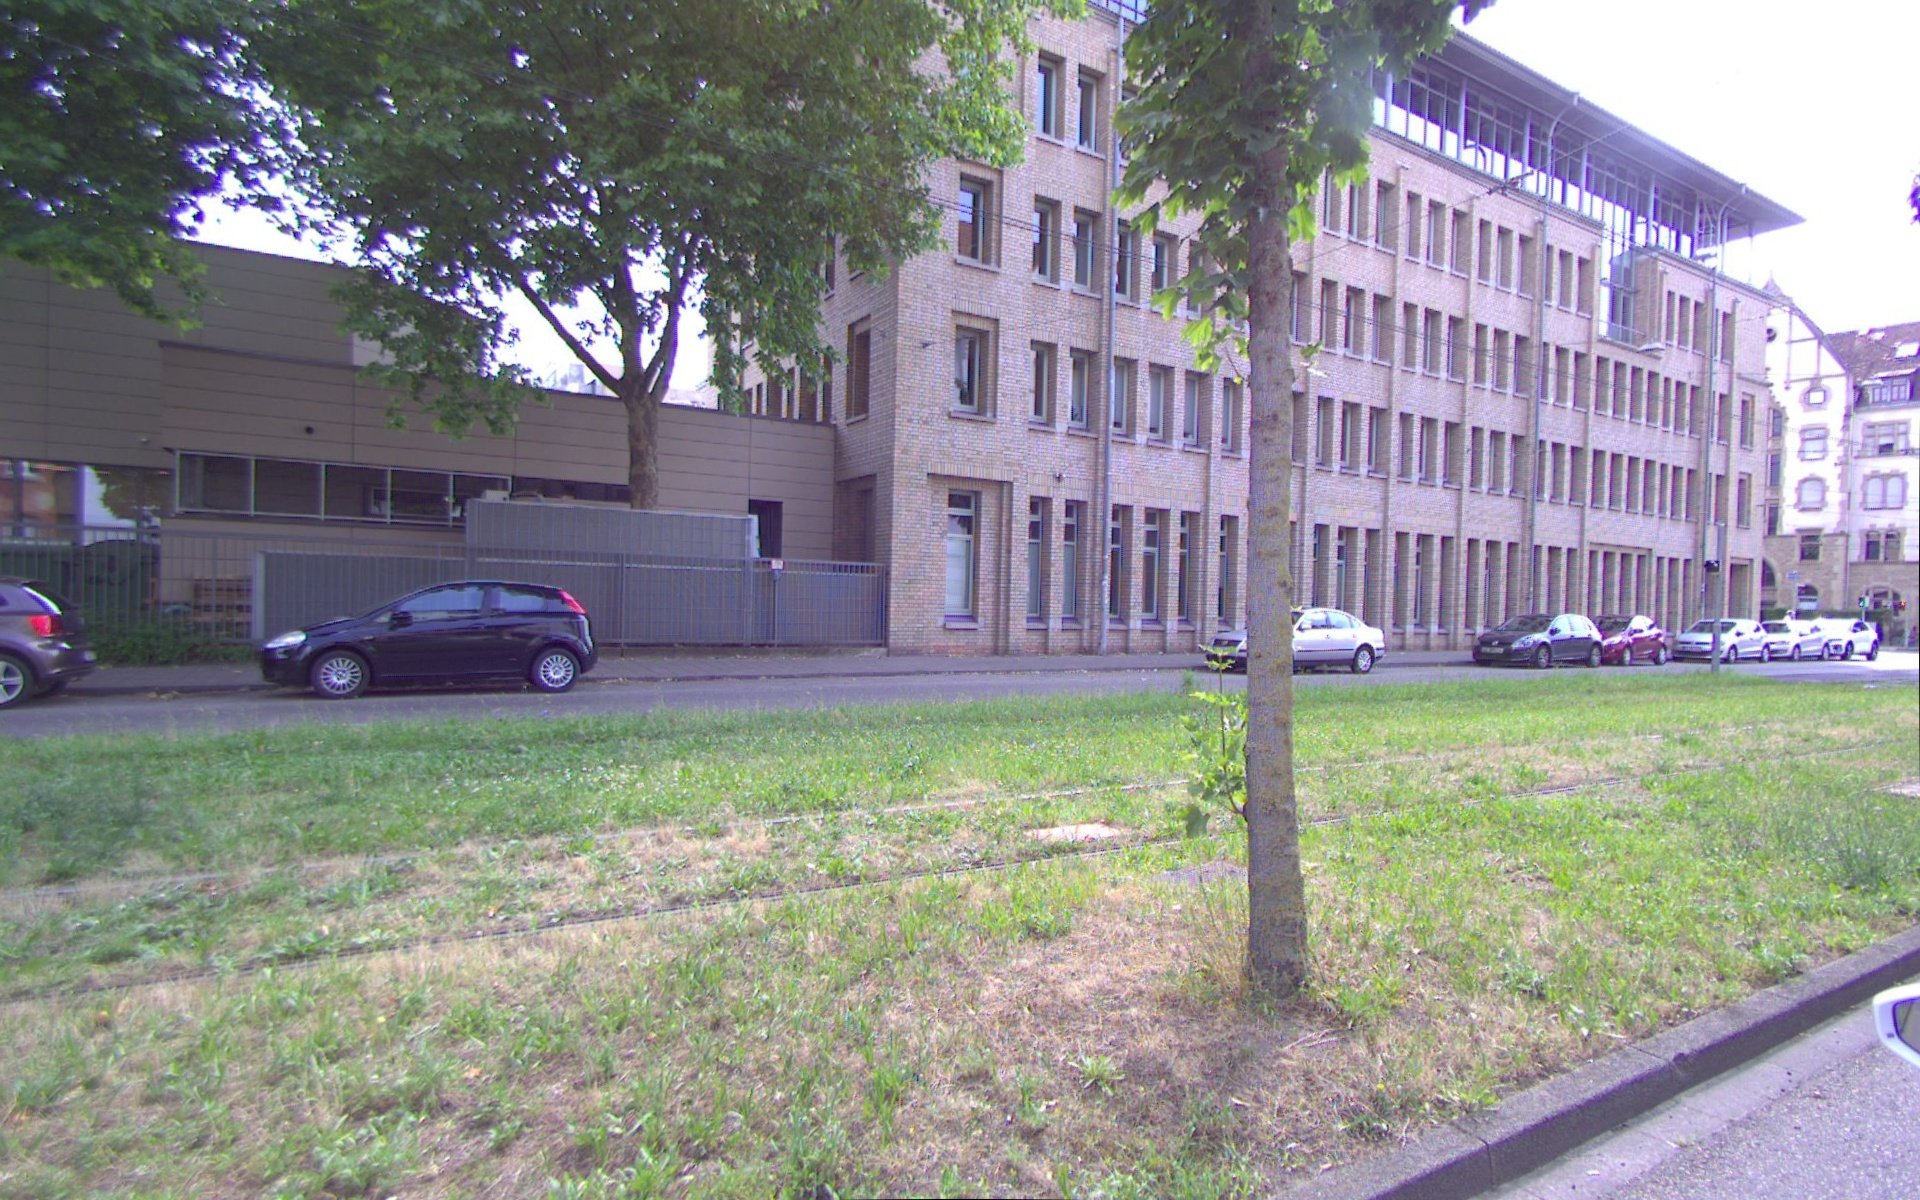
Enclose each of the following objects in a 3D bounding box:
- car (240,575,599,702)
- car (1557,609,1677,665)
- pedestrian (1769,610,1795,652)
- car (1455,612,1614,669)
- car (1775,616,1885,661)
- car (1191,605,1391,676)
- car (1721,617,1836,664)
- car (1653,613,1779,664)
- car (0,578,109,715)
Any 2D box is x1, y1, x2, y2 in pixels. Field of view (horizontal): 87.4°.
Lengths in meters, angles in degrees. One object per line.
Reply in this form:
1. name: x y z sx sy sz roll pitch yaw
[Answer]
1. car: -7.039 0.477 13.422 3.950 1.472 1.795 1 0 -28
2. car: 19.673 1.095 30.040 3.507 1.551 1.575 1 0 -30
3. pedestrian: 36.024 1.343 44.026 0.749 1.819 0.957 2 1 34
4. car: 15.771 1.087 27.551 4.189 1.415 1.924 1 0 -30
5. car: 33.412 1.466 38.572 4.207 1.555 1.924 1 0 -30
6. car: 7.381 0.872 22.283 4.432 1.415 1.707 1 0 -30
7. car: 29.502 1.438 36.210 3.967 1.551 1.924 1 0 -30
8. car: 25.144 1.269 33.388 4.160 1.551 1.842 1 0 -30
9. car: -11.677 0.460 10.615 3.857 1.445 1.546 1 0 -31
